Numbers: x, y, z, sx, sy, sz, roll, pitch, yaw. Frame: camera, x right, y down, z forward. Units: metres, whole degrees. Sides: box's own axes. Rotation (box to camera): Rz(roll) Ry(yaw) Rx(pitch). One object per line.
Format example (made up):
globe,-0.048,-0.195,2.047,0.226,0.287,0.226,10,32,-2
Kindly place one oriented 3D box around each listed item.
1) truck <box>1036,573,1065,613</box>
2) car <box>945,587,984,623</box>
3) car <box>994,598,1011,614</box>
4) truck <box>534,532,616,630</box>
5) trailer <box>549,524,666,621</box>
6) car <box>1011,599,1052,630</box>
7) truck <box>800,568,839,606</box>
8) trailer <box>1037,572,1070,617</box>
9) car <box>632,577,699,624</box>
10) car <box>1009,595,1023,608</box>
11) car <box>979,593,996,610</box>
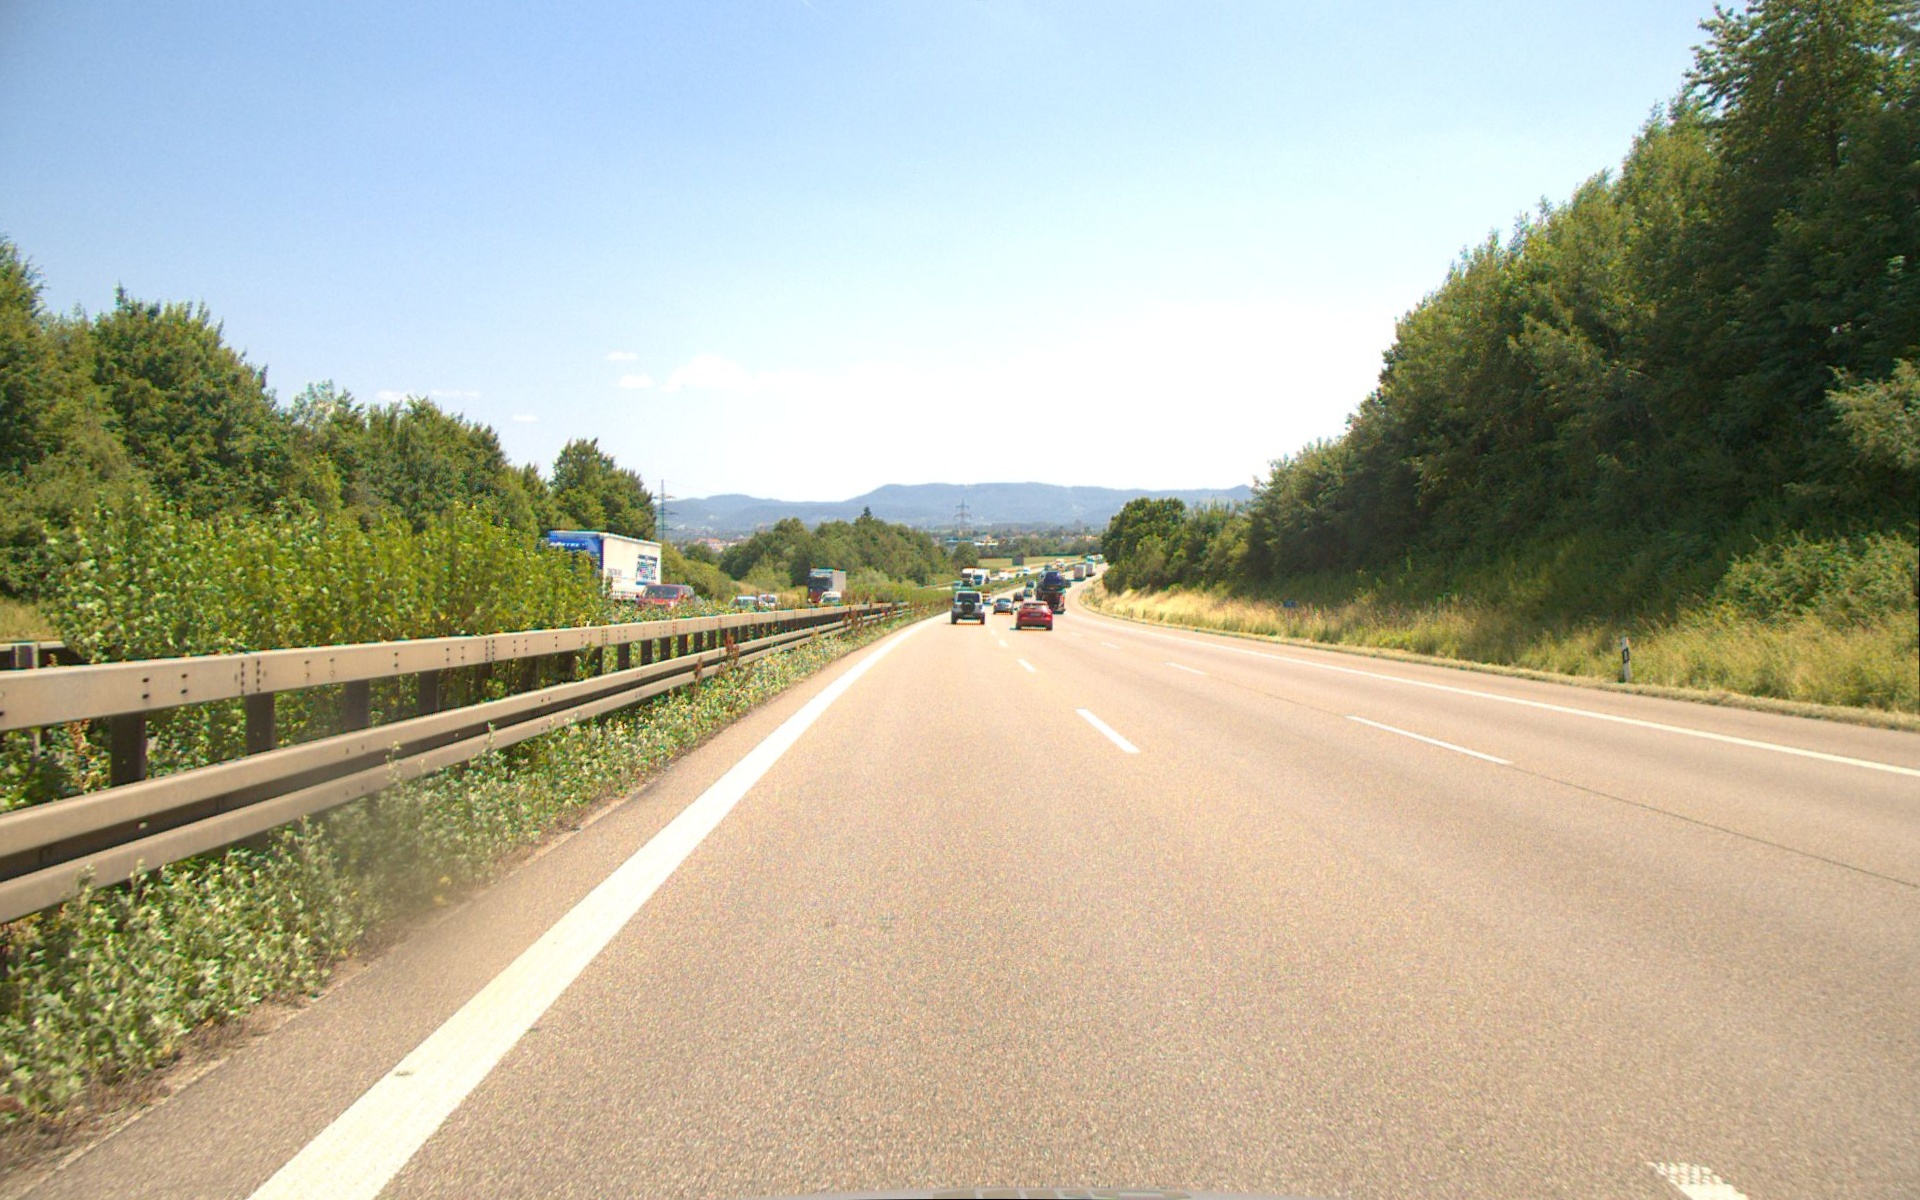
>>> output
truck,9.319,-0.767,171.296,2.697,3.919,6.646,1,1,1
car,0.214,0.256,94.616,2.041,1.861,4.752,1,1,-2
car,3.812,0.521,147.555,1.422,1.289,3.539,1,1,0
truck,-17.233,-0.873,74.279,2.442,4.190,5.084,1,1,0
trailer,-17.163,-1.378,81.752,2.580,4.327,14.677,1,1,0
car,3.512,0.700,81.603,1.652,1.403,3.946,1,1,-3
truck,-15.786,-1.411,187.014,2.914,4.084,16.828,1,0,0
trailer,9.132,-0.642,163.650,2.796,4.062,15.402,1,1,2
car,-12.791,-0.022,72.105,1.822,1.913,5.825,1,1,0
car,8.136,0.187,241.144,1.600,1.734,3.404,1,1,8
car,3.463,0.161,209.822,1.662,2.048,3.826,1,1,8
